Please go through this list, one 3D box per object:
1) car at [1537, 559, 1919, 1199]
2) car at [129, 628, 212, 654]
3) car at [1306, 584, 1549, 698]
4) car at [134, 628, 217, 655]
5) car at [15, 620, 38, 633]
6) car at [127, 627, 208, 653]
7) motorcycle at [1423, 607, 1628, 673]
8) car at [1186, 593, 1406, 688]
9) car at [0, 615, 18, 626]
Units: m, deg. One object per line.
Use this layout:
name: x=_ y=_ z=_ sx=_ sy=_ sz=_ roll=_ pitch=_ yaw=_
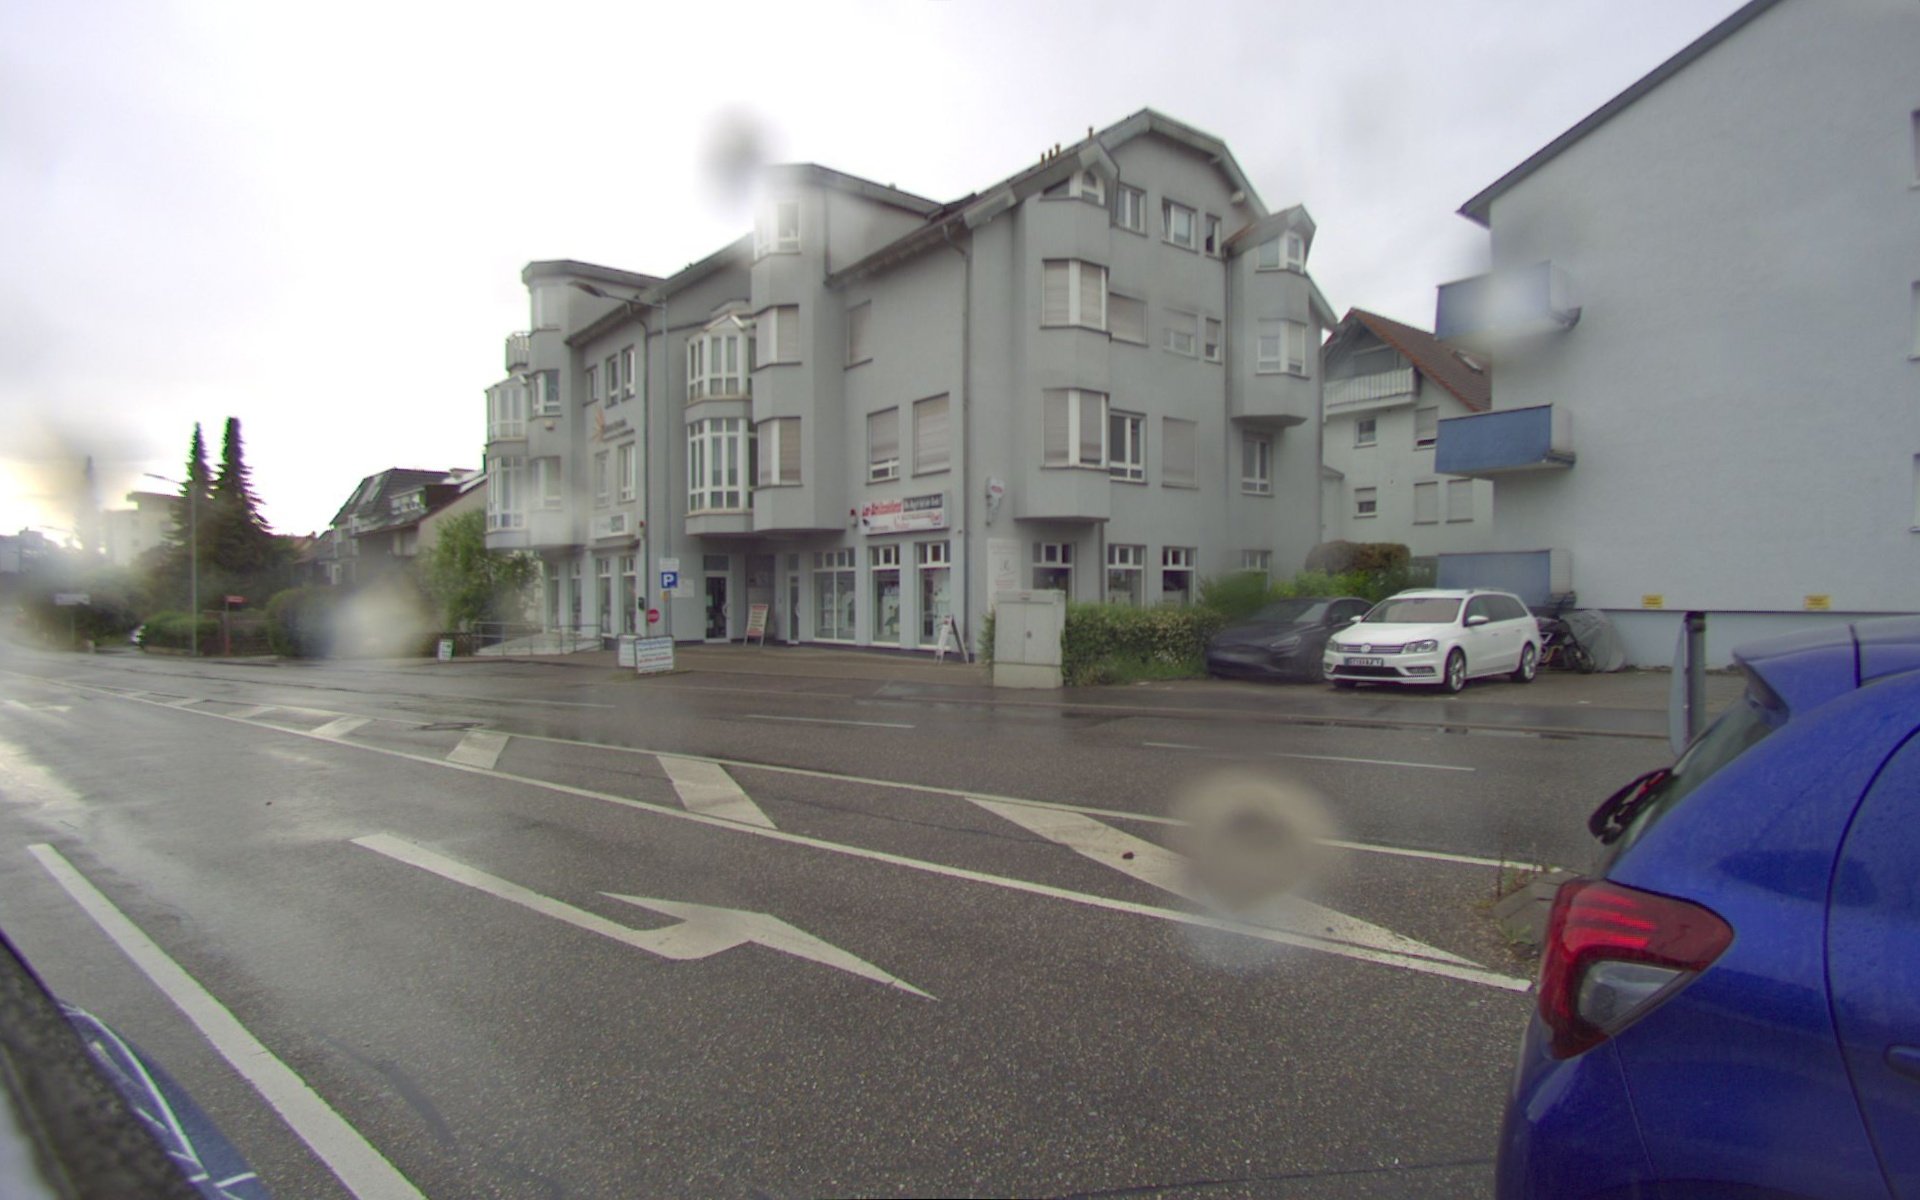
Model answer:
car: x=2.580 y=0.616 z=0.952 sx=3.269 sy=1.421 sz=1.562 roll=-2 pitch=0 yaw=42
car: x=-51.106 y=2.650 z=65.530 sx=4.097 sy=1.453 sz=1.892 roll=-2 pitch=0 yaw=-42
car: x=7.174 y=0.545 z=15.330 sx=4.169 sy=1.485 sz=1.906 roll=0 pitch=-1 yaw=-43
car: x=-49.369 y=2.575 z=63.740 sx=3.979 sy=1.453 sz=1.814 roll=-2 pitch=0 yaw=-44
car: x=-124.298 y=3.532 z=134.766 sx=1.968 sy=1.628 sz=4.008 roll=0 pitch=-1 yaw=-38
car: x=-52.904 y=2.647 z=67.605 sx=4.058 sy=1.557 sz=2.002 roll=-2 pitch=0 yaw=-44
motorcycle: x=10.092 y=0.721 z=18.243 sx=3.112 sy=1.108 sz=0.869 roll=-2 pitch=-1 yaw=25
car: x=5.796 y=0.616 z=17.248 sx=3.940 sy=1.421 sz=1.906 roll=0 pitch=-1 yaw=-43
car: x=-148.662 y=3.223 z=158.212 sx=1.824 sy=1.777 sz=4.129 roll=0 pitch=-1 yaw=-39
